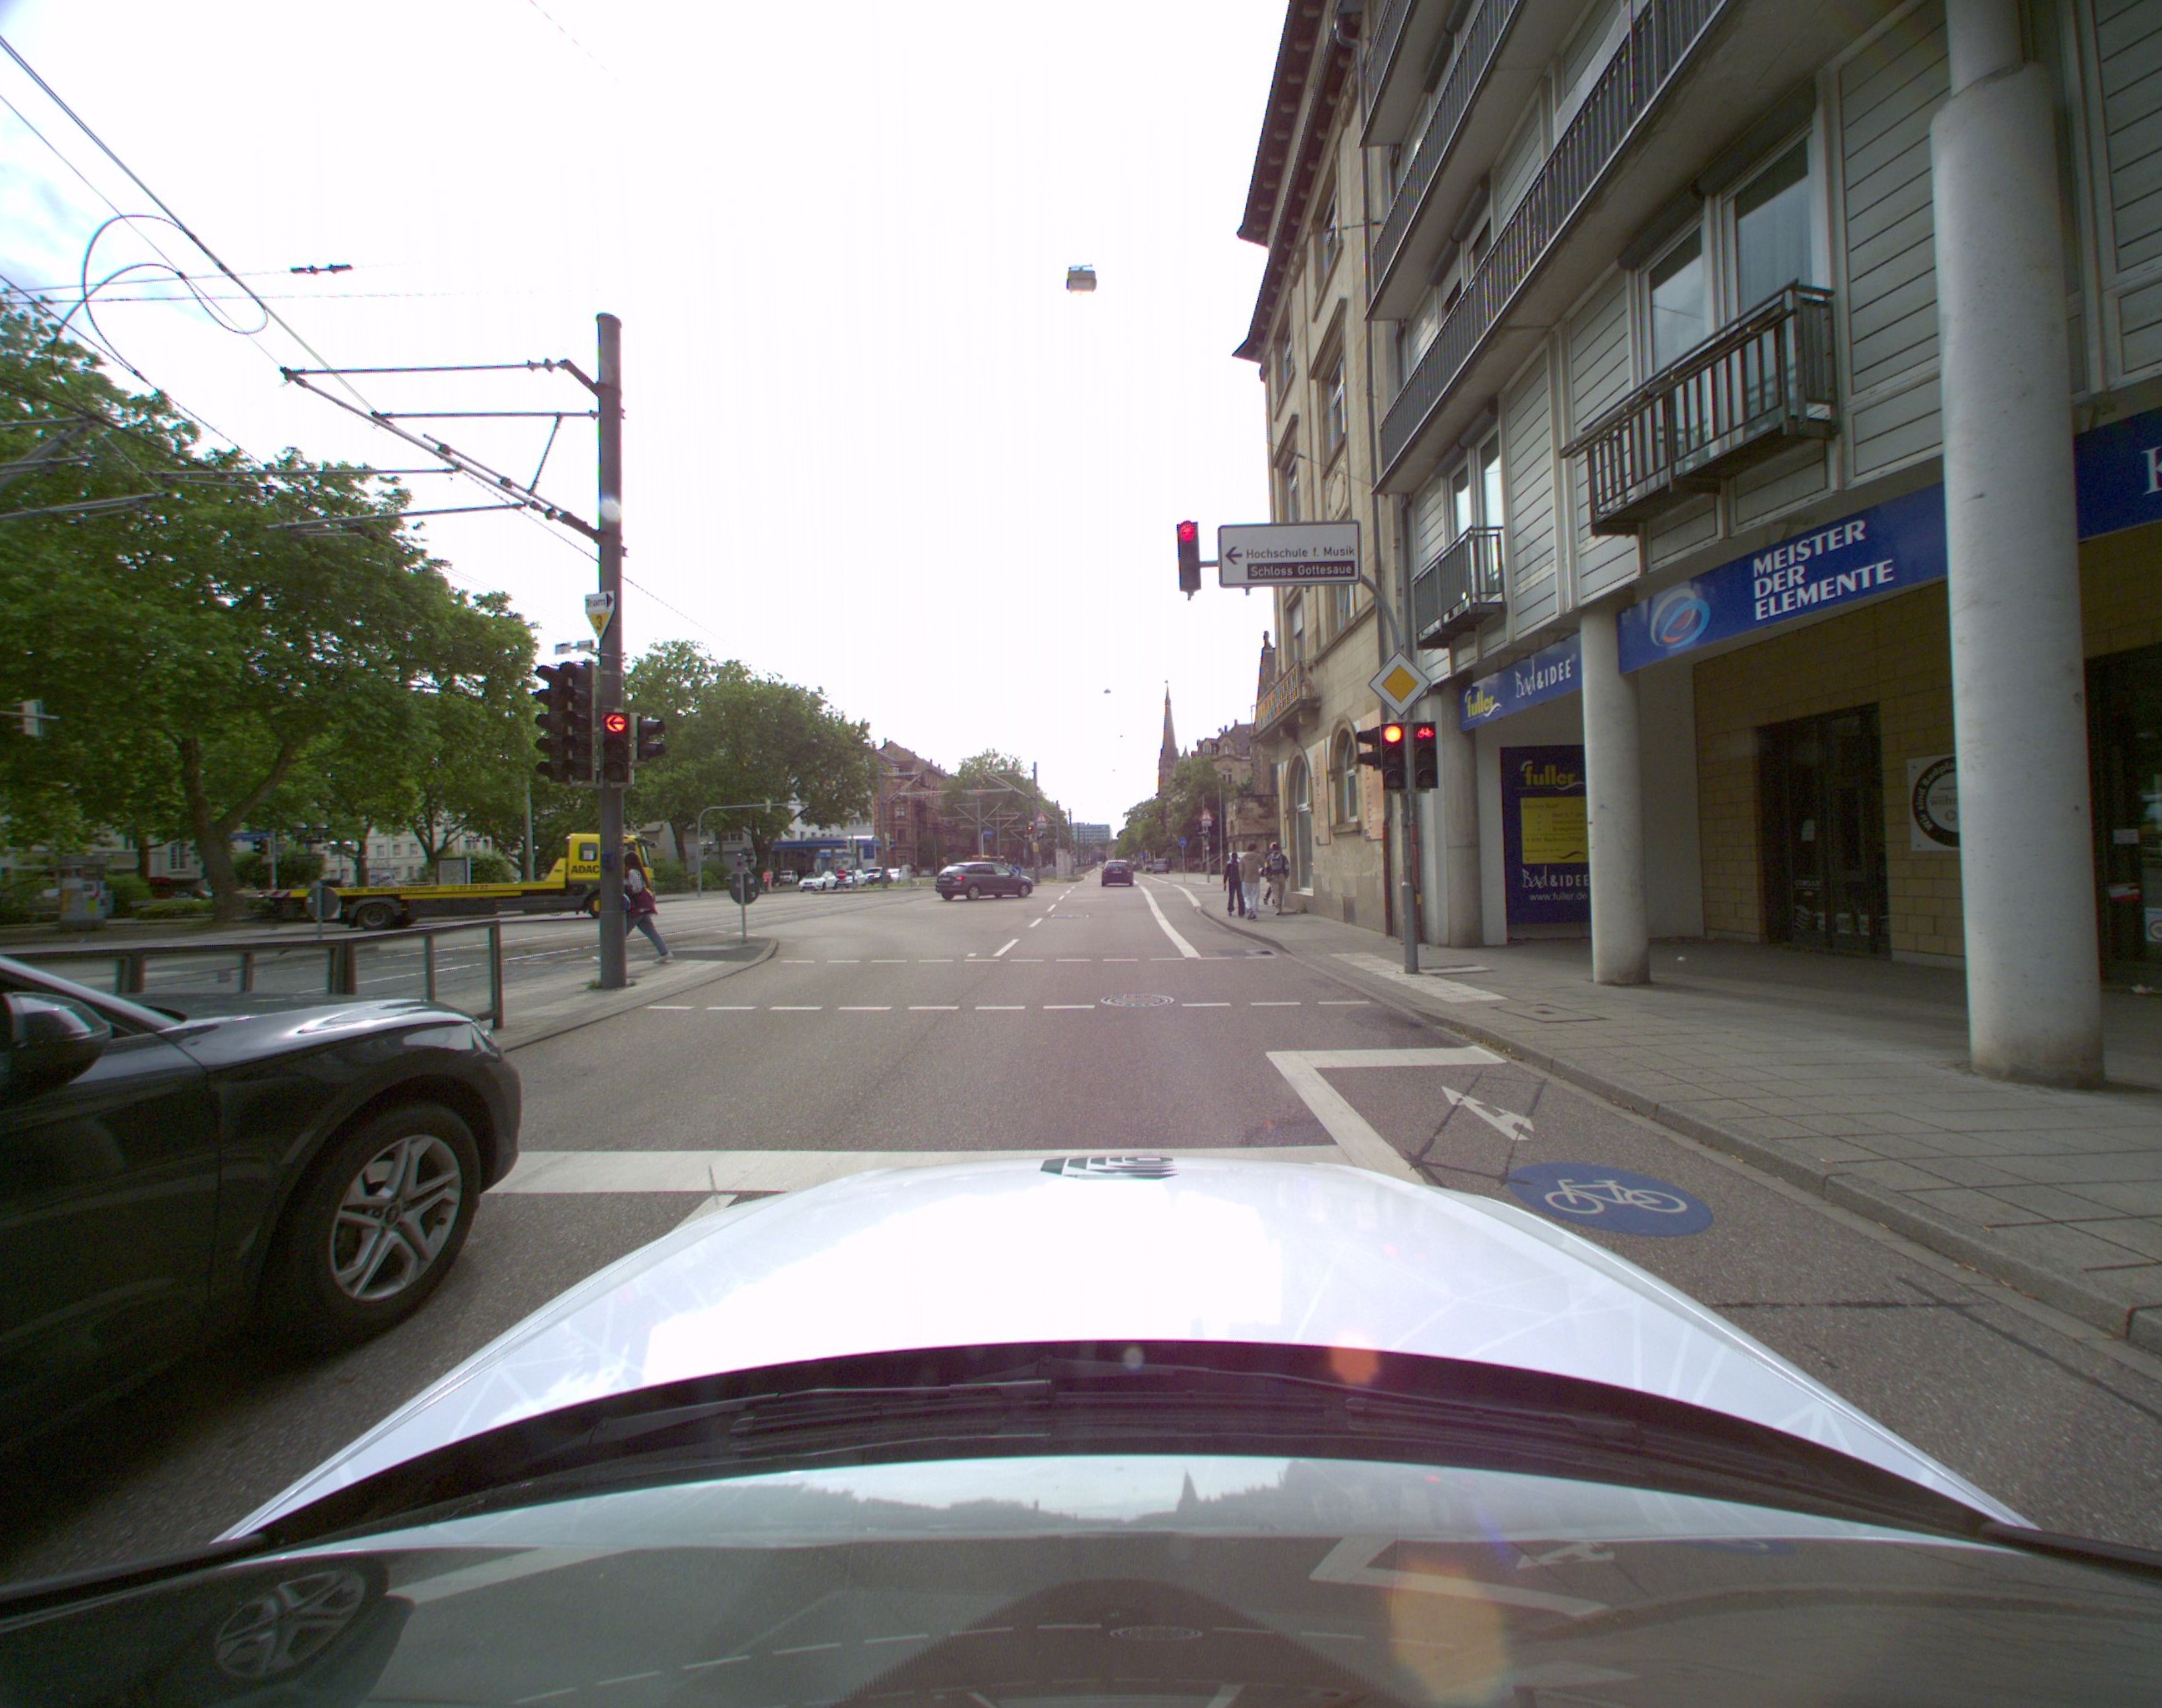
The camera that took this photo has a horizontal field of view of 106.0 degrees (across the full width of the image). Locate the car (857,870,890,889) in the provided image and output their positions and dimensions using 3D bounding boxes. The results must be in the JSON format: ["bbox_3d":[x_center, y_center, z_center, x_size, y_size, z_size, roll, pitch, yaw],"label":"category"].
[{"bbox_3d":[-18.544,2.273,72.919,1.887,1.557,3.837,0,-1,2],"label":"car"}]

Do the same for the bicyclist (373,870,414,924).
[{"bbox_3d":[-23.936,1.478,28.379,0.970,1.819,0.527,0,-1,-27],"label":"bicyclist"}]

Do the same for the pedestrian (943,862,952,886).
[{"bbox_3d":[-8.636,1.296,52.624,0.544,1.537,0.465,0,-1,-3],"label":"pedestrian"}]

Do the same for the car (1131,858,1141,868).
[{"bbox_3d":[11.615,1.876,172.268,1.986,2.014,4.001,0,-1,2],"label":"car"}]

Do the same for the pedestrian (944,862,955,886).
[{"bbox_3d":[-8.412,1.275,52.094,0.651,1.537,0.465,0,-1,-3],"label":"pedestrian"}]

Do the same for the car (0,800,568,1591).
[{"bbox_3d":[-3.142,0.701,1.250,1.873,1.601,4.358,-1,-1,1],"label":"car"}]

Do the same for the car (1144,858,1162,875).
[{"bbox_3d":[8.829,1.540,99.636,1.986,2.014,4.001,0,-1,1],"label":"car"}]

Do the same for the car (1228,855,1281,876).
[{"bbox_3d":[13.753,0.894,64.738,3.785,1.601,2.001,0,-1,1],"label":"car"}]

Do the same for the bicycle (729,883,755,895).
[{"bbox_3d":[-22.930,2.374,55.065,1.665,0.773,0.659,-1,-1,22],"label":"bicycle"}]

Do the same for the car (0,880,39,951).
[{"bbox_3d":[-32.535,1.741,22.075,4.886,1.967,1.973,0,-1,-24],"label":"car"}]

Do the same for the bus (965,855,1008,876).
[{"bbox_3d":[-14.348,1.713,125.381,3.066,3.112,13.126,0,-1,9],"label":"bus"}]

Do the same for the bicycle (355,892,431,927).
[{"bbox_3d":[-23.941,1.911,28.364,1.910,1.142,0.623,0,-1,-28],"label":"bicycle"}]

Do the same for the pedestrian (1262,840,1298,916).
[{"bbox_3d":[4.854,0.577,19.913,0.622,1.778,1.137,-4,-2,9],"label":"pedestrian"}]

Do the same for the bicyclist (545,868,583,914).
[{"bbox_3d":[-19.163,1.354,30.218,1.041,1.683,0.641,0,-1,-19],"label":"bicyclist"}]

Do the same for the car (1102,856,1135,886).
[{"bbox_3d":[2.104,0.949,46.412,1.799,1.586,4.342,0,-1,2],"label":"car"}]

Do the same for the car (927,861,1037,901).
[{"bbox_3d":[-3.854,1.008,32.079,4.016,1.469,1.818,0,-1,-45],"label":"car"}]

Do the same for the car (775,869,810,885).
[{"bbox_3d":[-28.744,2.279,81.330,1.986,1.530,4.001,0,-1,2],"label":"car"}]

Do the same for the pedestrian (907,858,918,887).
[{"bbox_3d":[-10.272,1.139,49.765,0.571,1.794,0.518,0,-1,-3],"label":"pedestrian"}]

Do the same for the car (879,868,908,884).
[{"bbox_3d":[-18.320,2.123,79.682,1.887,1.557,3.837,0,-1,2],"label":"car"}]

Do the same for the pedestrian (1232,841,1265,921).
[{"bbox_3d":[3.879,0.611,18.853,0.578,1.813,1.020,0,-1,21],"label":"pedestrian"}]

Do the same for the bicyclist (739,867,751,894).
[{"bbox_3d":[-22.747,1.799,55.121,0.528,1.784,0.472,-1,-1,21],"label":"bicyclist"}]

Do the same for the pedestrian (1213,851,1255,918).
[{"bbox_3d":[3.881,0.755,20.596,0.620,1.653,1.003,-1,-1,39],"label":"pedestrian"}]

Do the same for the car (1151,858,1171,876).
[{"bbox_3d":[8.810,1.425,90.020,1.986,2.014,4.001,0,-1,1],"label":"car"}]

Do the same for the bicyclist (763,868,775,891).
[{"bbox_3d":[-21.464,1.750,55.986,0.585,1.568,0.619,0,-1,1],"label":"bicyclist"}]

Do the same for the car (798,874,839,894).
[{"bbox_3d":[-19.144,2.148,59.534,1.628,1.325,4.001,0,-1,2],"label":"car"}]

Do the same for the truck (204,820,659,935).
[{"bbox_3d":[-18.372,0.579,24.239,10.199,2.941,2.614,0,-1,-26],"label":"truck"}]

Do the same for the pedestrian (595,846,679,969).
[{"bbox_3d":[-6.352,0.733,11.667,0.663,1.680,0.874,-1,-1,40],"label":"pedestrian"}]

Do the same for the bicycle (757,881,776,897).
[{"bbox_3d":[-21.473,2.386,55.612,0.520,1.017,1.937,0,-1,2],"label":"bicycle"}]

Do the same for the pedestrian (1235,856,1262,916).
[{"bbox_3d":[4.487,0.844,21.843,0.696,1.593,0.833,0,-1,10],"label":"pedestrian"}]

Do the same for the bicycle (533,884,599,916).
[{"bbox_3d":[-19.096,1.696,30.223,1.943,1.136,0.731,0,-1,-19],"label":"bicycle"}]

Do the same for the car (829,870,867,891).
[{"bbox_3d":[-18.814,2.128,65.943,1.887,1.557,3.837,0,-1,2],"label":"car"}]

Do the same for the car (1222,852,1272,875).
[{"bbox_3d":[13.864,0.774,68.150,3.785,1.904,2.001,0,-1,1],"label":"car"}]

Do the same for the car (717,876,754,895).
[{"bbox_3d":[-29.930,2.726,70.638,1.892,1.557,3.828,0,-1,-6],"label":"car"}]

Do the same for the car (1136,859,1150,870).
[{"bbox_3d":[9.719,1.664,128.449,1.986,1.607,4.165,-3,-1,1],"label":"car"}]
